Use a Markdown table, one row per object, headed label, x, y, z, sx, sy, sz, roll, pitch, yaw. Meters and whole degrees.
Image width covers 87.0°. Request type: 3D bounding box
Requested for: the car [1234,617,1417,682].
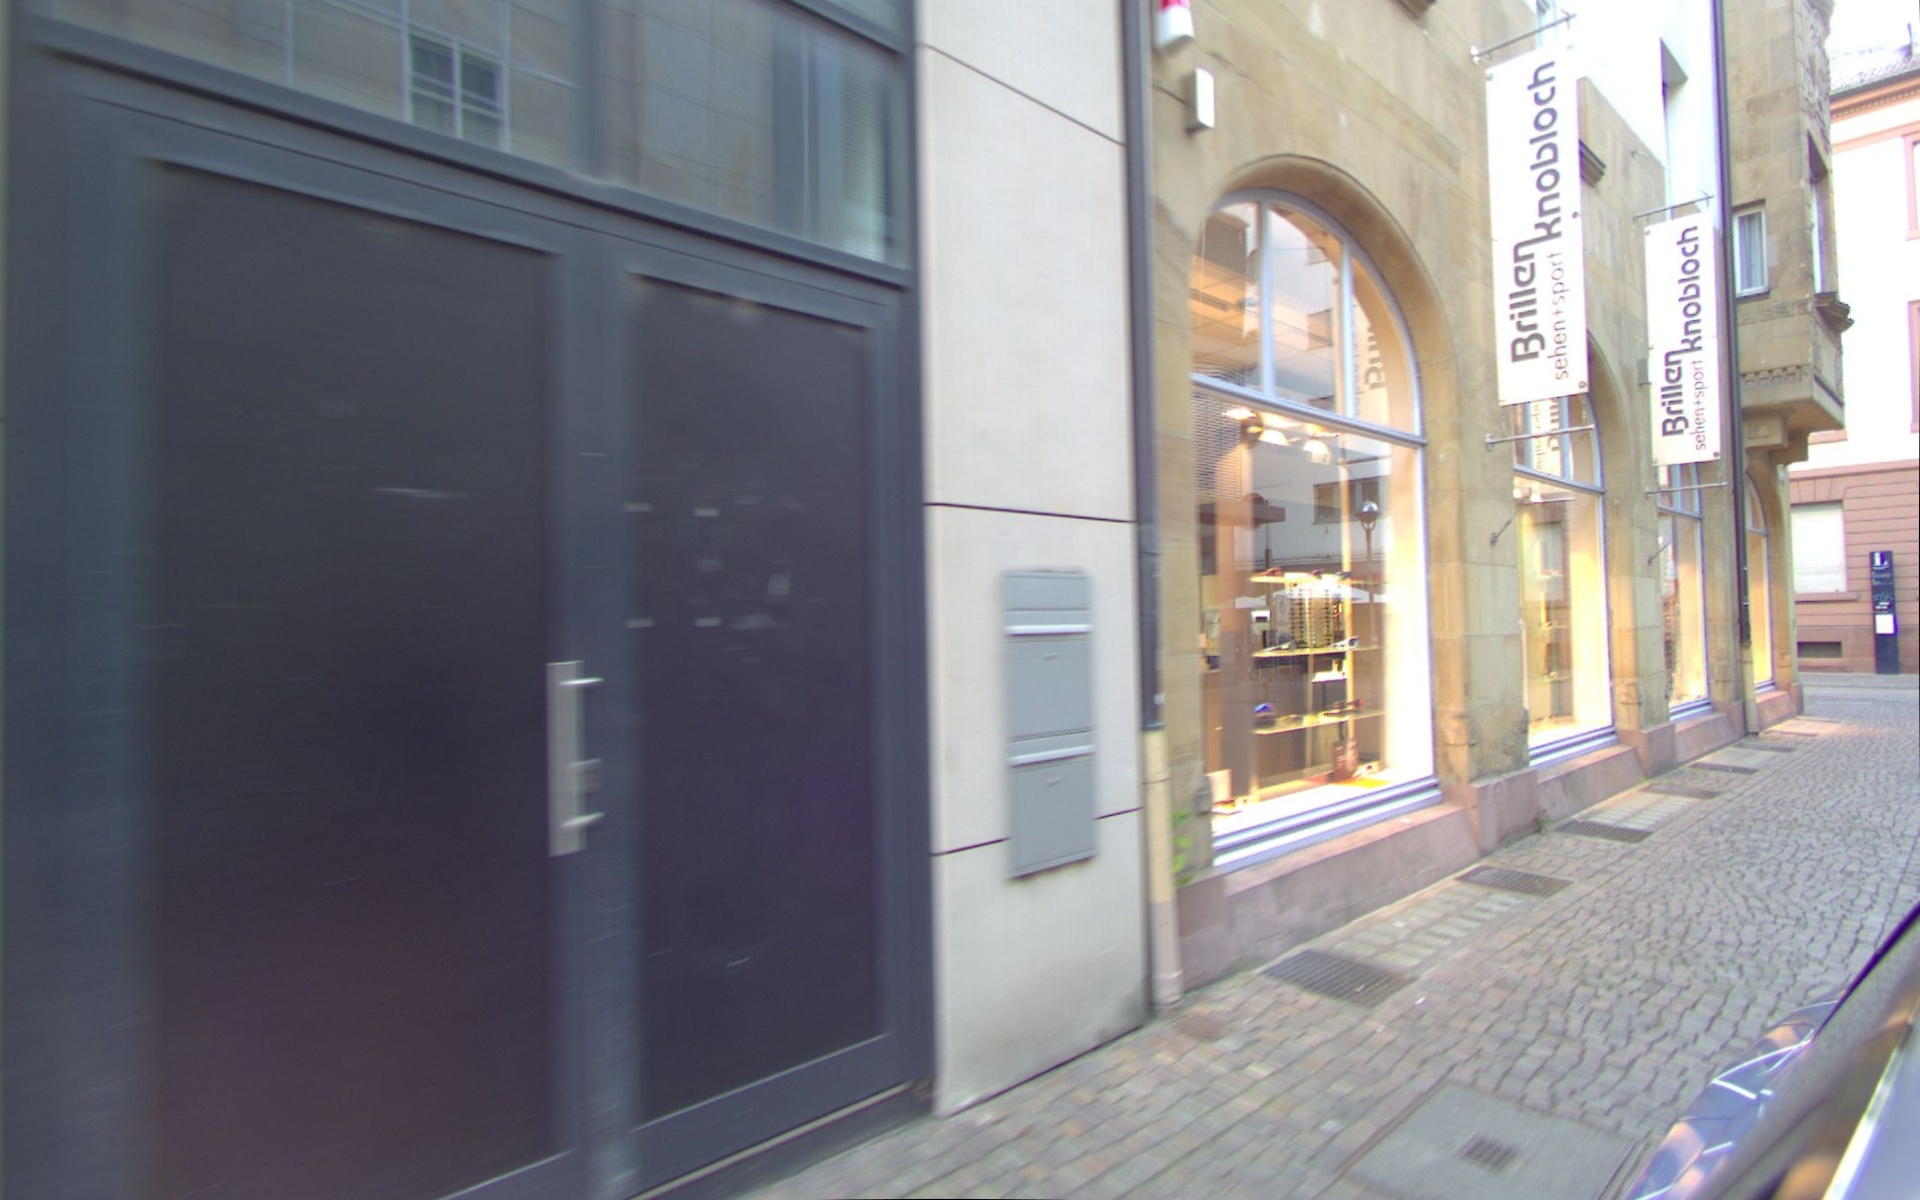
| label | x | y | z | sx | sy | sz | roll | pitch | yaw |
| --- | --- | --- | --- | --- | --- | --- | --- | --- | --- |
| car | 8.987 | 1.184 | 25.143 | 1.622 | 1.461 | 3.991 | 1 | -2 | -42 |
